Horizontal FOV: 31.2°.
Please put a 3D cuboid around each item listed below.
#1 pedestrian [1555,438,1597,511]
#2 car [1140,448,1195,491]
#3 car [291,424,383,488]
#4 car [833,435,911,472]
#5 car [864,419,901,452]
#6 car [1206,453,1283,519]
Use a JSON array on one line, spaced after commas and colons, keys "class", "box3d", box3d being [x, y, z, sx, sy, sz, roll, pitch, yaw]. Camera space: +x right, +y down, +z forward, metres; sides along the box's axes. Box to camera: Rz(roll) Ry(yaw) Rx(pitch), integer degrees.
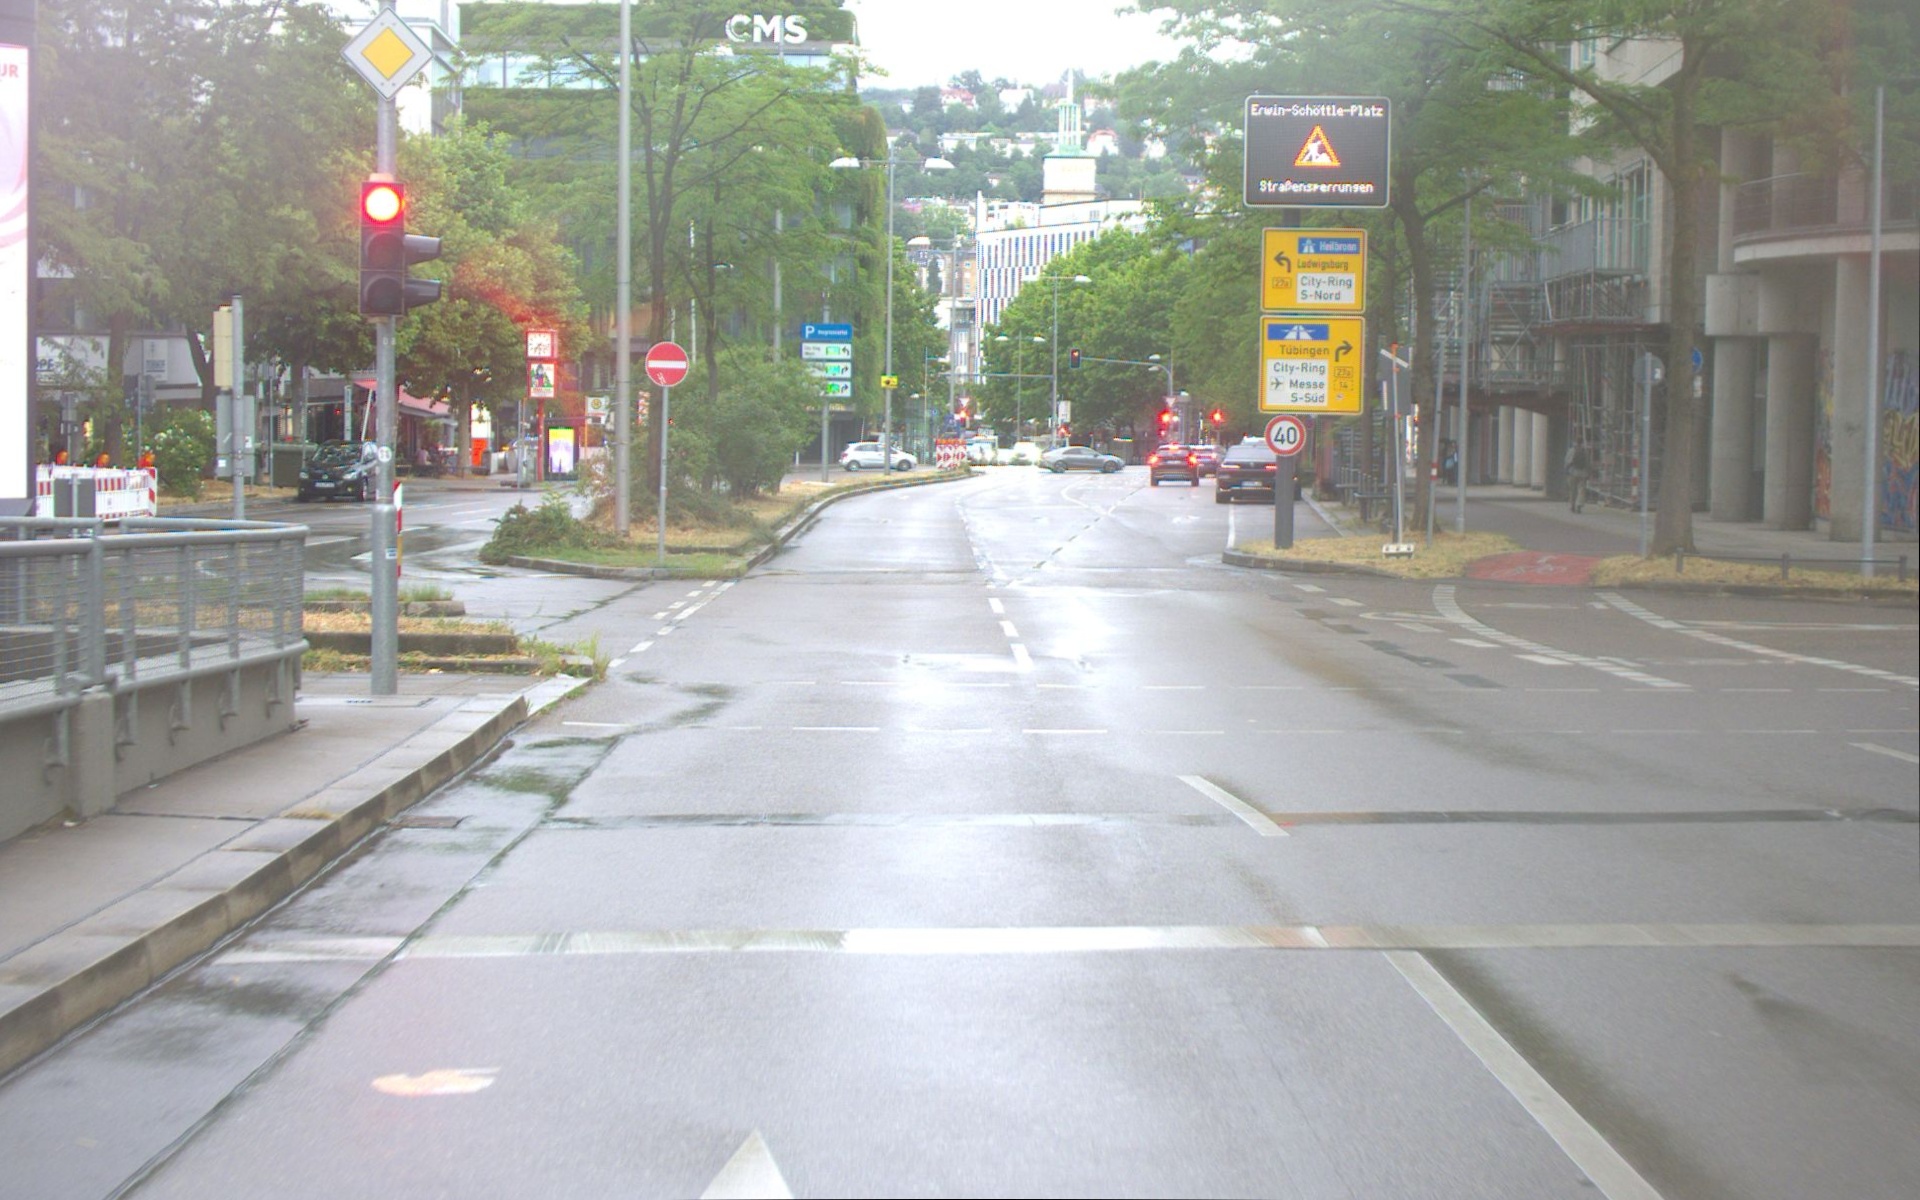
[{"class": "pedestrian", "box3d": [13.486, -2.749, 75.275, 0.786, 1.552, 0.533, 2, 2, 3]}, {"class": "car", "box3d": [7.745, -4.880, 128.425, 1.746, 1.513, 4.107, 1, 2, -1]}, {"class": "car", "box3d": [-16.521, -3.842, 91.275, 1.780, 1.550, 3.894, 2, 4, -1]}, {"class": "car", "box3d": [-4.790, -7.997, 187.267, 4.055, 1.898, 1.955, 1, 2, -6]}, {"class": "car", "box3d": [-5.243, -11.146, 232.920, 2.128, 2.157, 5.197, 2, 2, 2]}, {"class": "car", "box3d": [7.535, -3.030, 91.320, 1.901, 1.678, 3.911, 2, 2, 4]}]
